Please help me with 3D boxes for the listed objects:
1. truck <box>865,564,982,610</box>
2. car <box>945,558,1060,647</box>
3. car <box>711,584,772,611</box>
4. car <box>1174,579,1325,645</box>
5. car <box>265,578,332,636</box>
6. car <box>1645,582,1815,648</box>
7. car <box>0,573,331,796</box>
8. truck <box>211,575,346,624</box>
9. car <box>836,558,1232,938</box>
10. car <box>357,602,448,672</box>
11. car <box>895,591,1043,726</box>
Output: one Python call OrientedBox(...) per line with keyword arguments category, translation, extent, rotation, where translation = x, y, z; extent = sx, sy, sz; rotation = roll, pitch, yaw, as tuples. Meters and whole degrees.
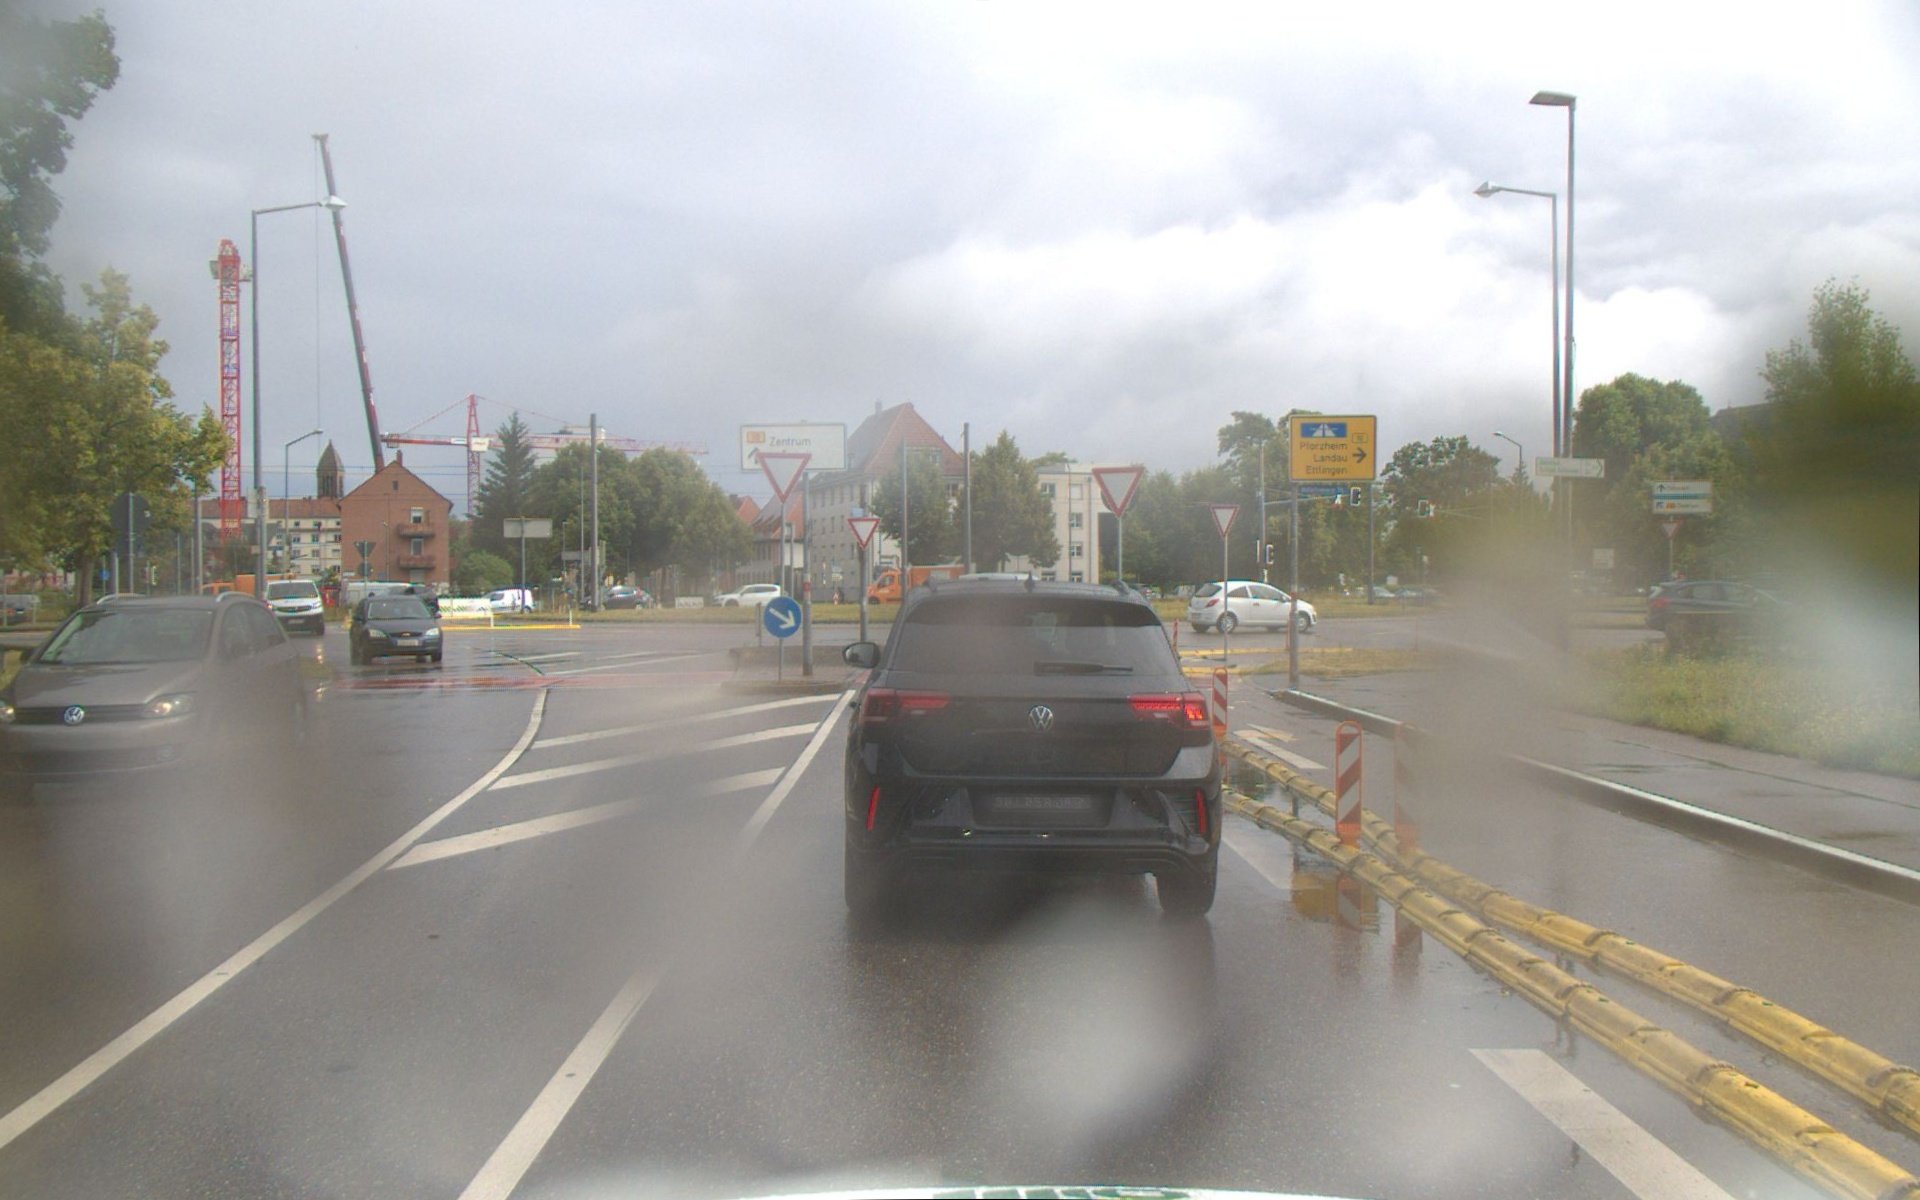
OrientedBox(category="truck", translation=(-2.222, -0.799, 99.265), extent=(6.929, 2.696, 2.327), rotation=(0, 0, -6))
OrientedBox(category="car", translation=(1.012, 0.037, 36.611), extent=(1.824, 1.841, 4.408), rotation=(0, 1, 11))
OrientedBox(category="car", translation=(-13.261, -0.145, 100.328), extent=(3.445, 1.612, 1.557), rotation=(0, 0, -21))
OrientedBox(category="car", translation=(8.511, 0.324, 48.683), extent=(3.928, 1.862, 1.988), rotation=(-1, 0, -20))
OrientedBox(category="car", translation=(-22.951, 0.224, 57.503), extent=(1.859, 1.909, 5.105), rotation=(-1, 0, -19))
OrientedBox(category="car", translation=(20.182, 0.375, 43.485), extent=(3.858, 1.673, 1.672), rotation=(0, 0, 18))
OrientedBox(category="car", translation=(-6.971, 0.629, 14.620), extent=(1.749, 1.579, 4.415), rotation=(-3, 1, -10))
OrientedBox(category="truck", translation=(-36.529, -0.047, 88.828), extent=(6.611, 2.485, 2.417), rotation=(-1, 0, -23))
OrientedBox(category="car", translation=(0.207, 0.625, 8.854), extent=(1.675, 1.601, 3.680), rotation=(0, 0, -4))
OrientedBox(category="car", translation=(-12.974, 0.836, 38.667), extent=(1.844, 1.508, 4.158), rotation=(-1, 0, -17))
OrientedBox(category="car", translation=(0.038, 0.669, 21.015), extent=(1.700, 1.540, 3.602), rotation=(0, 0, -3))
